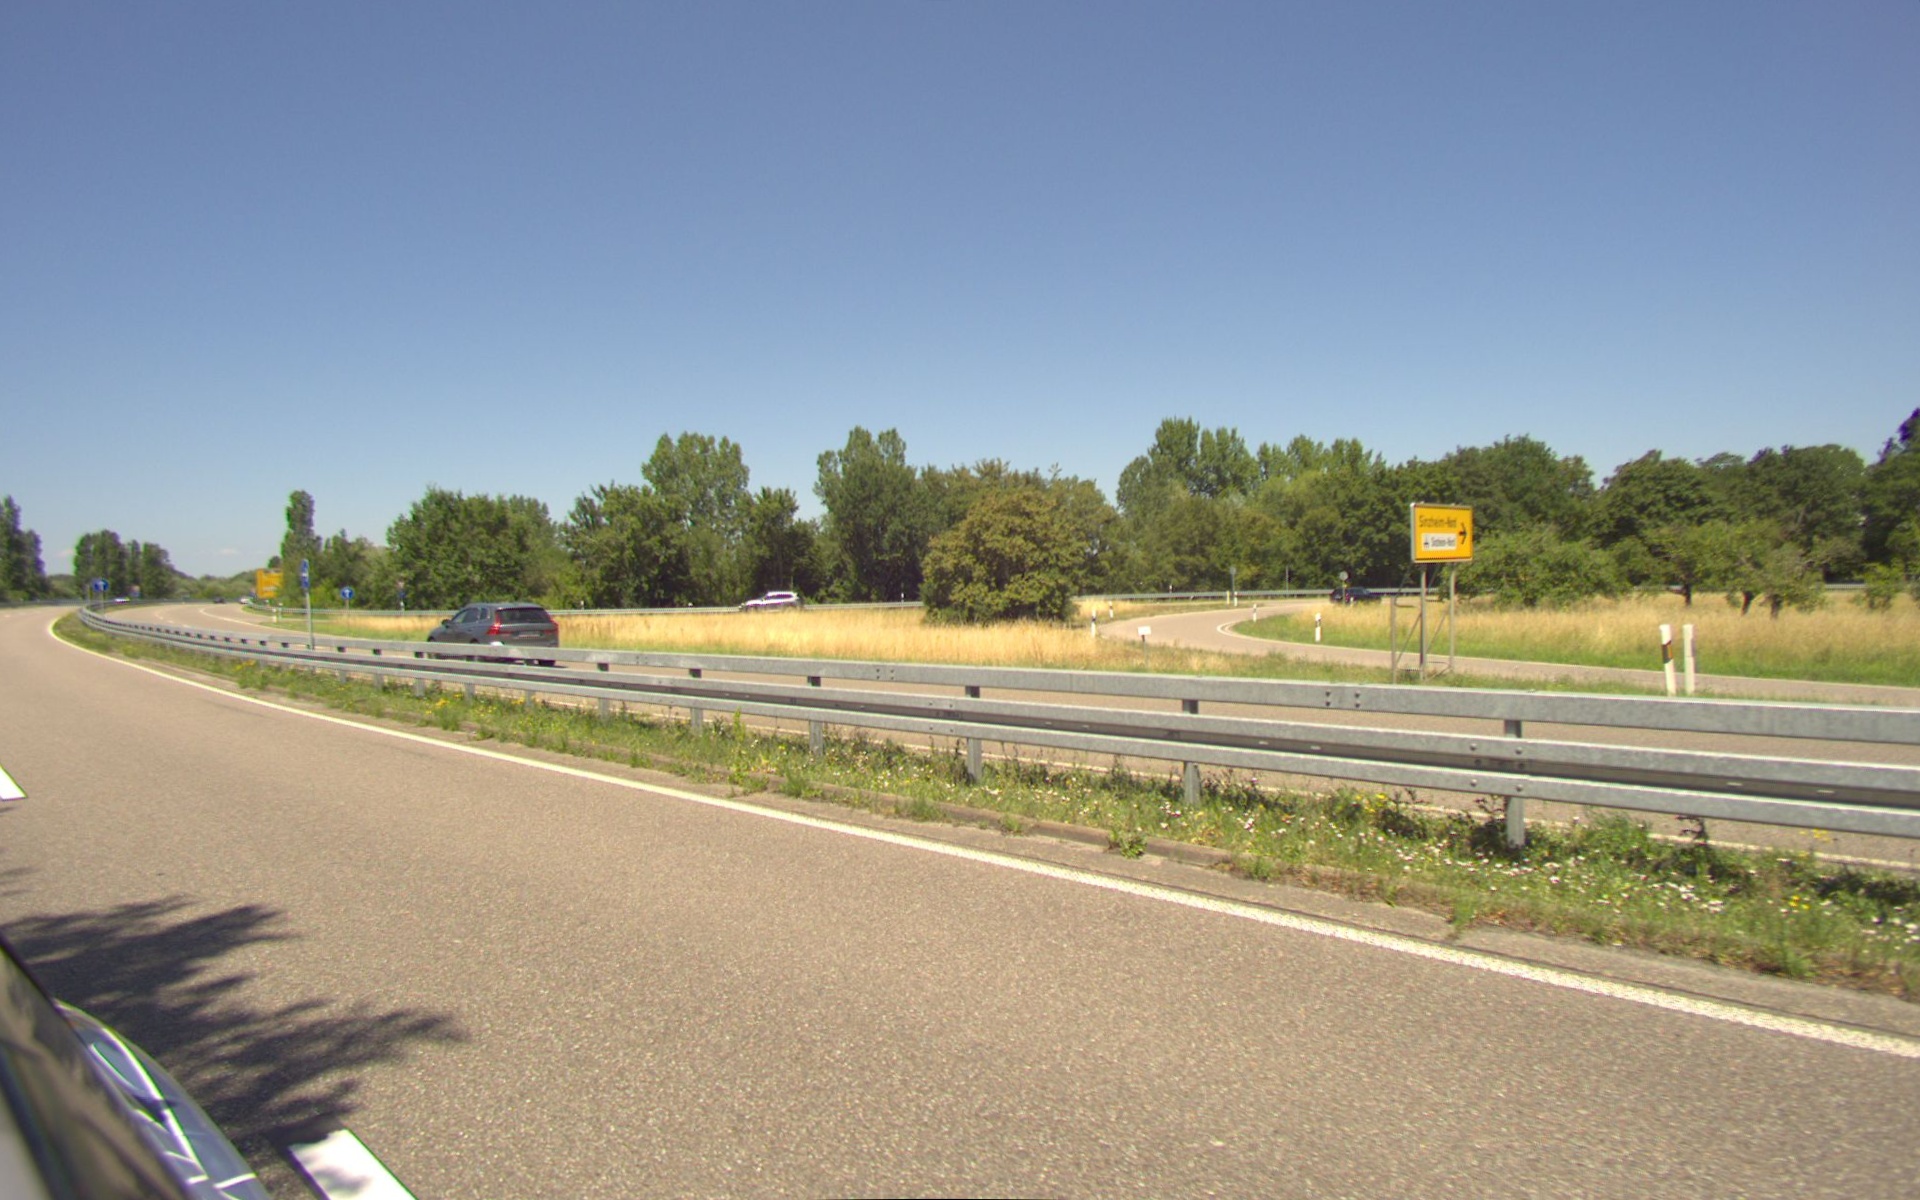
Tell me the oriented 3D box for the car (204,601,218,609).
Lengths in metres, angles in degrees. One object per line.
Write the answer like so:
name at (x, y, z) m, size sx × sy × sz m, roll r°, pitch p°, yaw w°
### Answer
car at (-154.331, 0.981, 208.570) m, size 1.943 × 1.497 × 3.881 m, roll -2°, pitch 2°, yaw -32°

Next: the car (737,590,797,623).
car at (-13.483, 0.450, 70.921) m, size 3.936 × 2.028 × 2.004 m, roll -2°, pitch 2°, yaw -8°

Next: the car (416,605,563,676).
car at (-11.908, 0.976, 25.480) m, size 4.540 × 1.630 × 1.804 m, roll -1°, pitch -1°, yaw 43°

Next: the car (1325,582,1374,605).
car at (30.185, -0.518, 78.351) m, size 3.939 × 1.709 × 2.003 m, roll -2°, pitch 1°, yaw -42°

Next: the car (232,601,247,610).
car at (-134.335, 0.956, 188.671) m, size 1.943 × 1.497 × 3.881 m, roll -2°, pitch 2°, yaw -32°
